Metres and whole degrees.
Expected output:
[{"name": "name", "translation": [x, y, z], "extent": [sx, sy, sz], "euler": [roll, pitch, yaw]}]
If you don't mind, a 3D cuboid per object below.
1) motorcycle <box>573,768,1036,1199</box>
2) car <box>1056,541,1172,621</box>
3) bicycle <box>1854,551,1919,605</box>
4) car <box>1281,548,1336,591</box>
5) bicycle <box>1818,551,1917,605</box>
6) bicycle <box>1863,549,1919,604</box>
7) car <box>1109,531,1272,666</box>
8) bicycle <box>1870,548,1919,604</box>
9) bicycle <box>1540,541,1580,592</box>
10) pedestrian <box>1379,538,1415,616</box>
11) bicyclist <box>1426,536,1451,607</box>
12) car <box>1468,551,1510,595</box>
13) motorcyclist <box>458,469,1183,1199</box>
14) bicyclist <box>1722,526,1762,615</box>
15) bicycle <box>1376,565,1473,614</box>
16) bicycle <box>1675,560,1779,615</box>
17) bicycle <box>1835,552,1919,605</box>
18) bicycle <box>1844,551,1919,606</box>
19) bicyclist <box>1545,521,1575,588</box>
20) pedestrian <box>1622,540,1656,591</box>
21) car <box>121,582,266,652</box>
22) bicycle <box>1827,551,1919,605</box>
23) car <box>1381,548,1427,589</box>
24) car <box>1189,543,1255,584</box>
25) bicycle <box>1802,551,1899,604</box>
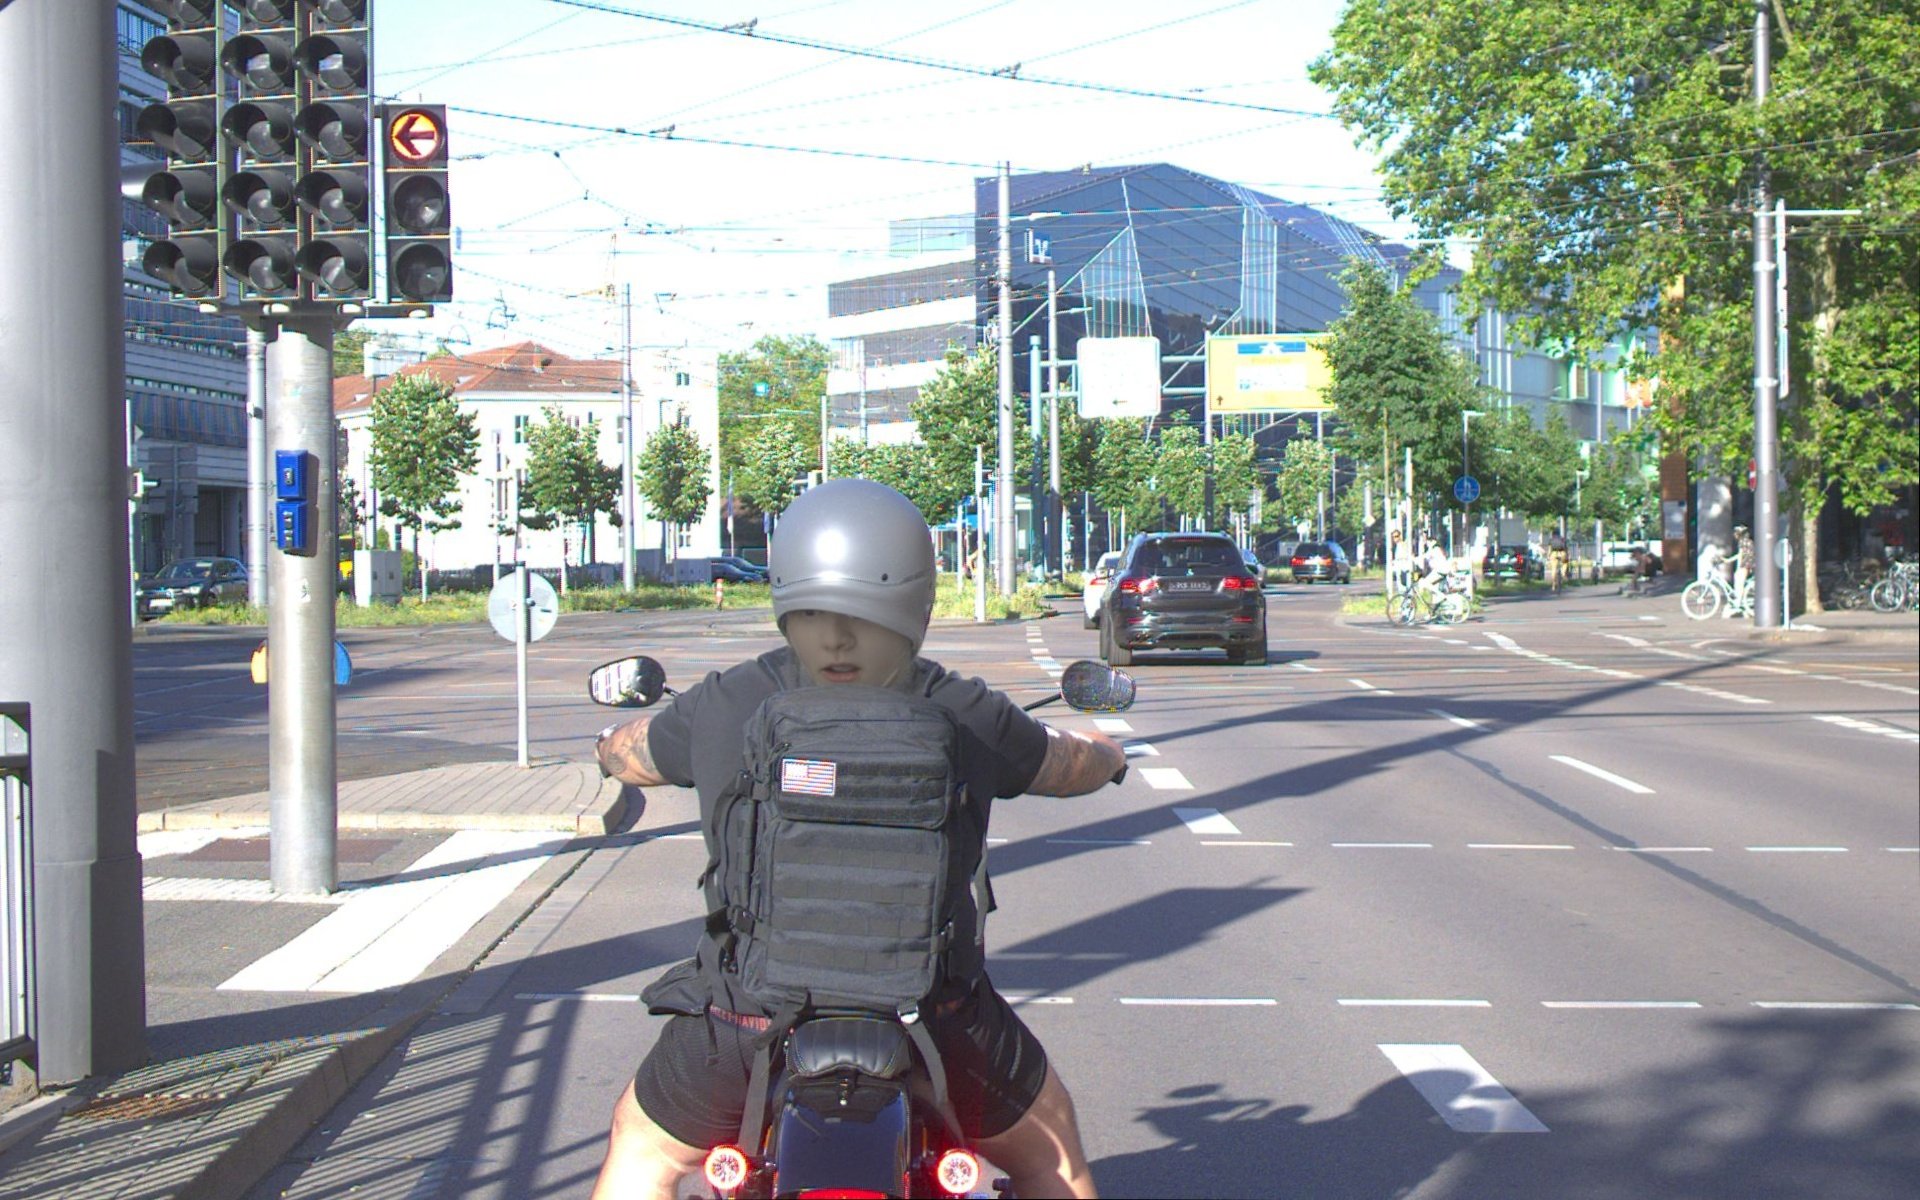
[{"name": "motorcycle", "translation": [-0.222, 0.873, 5.627], "extent": [0.600, 1.032, 2.234], "euler": [1, 1, -1]}, {"name": "car", "translation": [2.815, -0.375, 63.669], "extent": [1.803, 1.425, 4.453], "euler": [0, 1, -2]}, {"name": "bicycle", "translation": [18.502, -0.430, 67.311], "extent": [1.880, 1.043, 0.360], "euler": [1, 0, -1]}, {"name": "car", "translation": [14.132, -1.235, 139.365], "extent": [1.804, 1.672, 4.039], "euler": [1, 0, 11]}, {"name": "bicycle", "translation": [18.339, -0.451, 69.484], "extent": [1.880, 1.043, 0.360], "euler": [1, 1, -1]}, {"name": "bicycle", "translation": [18.464, -0.440, 66.496], "extent": [1.880, 1.043, 0.360], "euler": [1, 0, -1]}, {"name": "car", "translation": [2.915, -0.055, 42.732], "extent": [1.804, 1.590, 4.452], "euler": [0, 1, 7]}, {"name": "bicycle", "translation": [18.383, -0.449, 65.712], "extent": [1.880, 1.043, 0.360], "euler": [1, 0, -1]}, {"name": "bicycle", "translation": [16.266, -0.894, 93.269], "extent": [0.726, 1.362, 2.917], "euler": [1, 0, 3]}, {"name": "pedestrian", "translation": [8.750, -0.456, 68.813], "extent": [0.587, 1.551, 0.489], "euler": [1, 0, -8]}, {"name": "bicyclist", "translation": [9.333, -0.561, 67.096], "extent": [0.380, 1.368, 0.345], "euler": [1, 0, -9]}, {"name": "car", "translation": [22.571, -1.130, 146.627], "extent": [1.531, 1.831, 3.573], "euler": [1, 0, 12]}, {"name": "motorcyclist", "translation": [-0.202, 0.601, 5.356], "extent": [1.030, 1.588, 0.873], "euler": [0, 1, -1]}, {"name": "bicyclist", "translation": [14.825, -0.559, 65.145], "extent": [0.688, 1.667, 0.540], "euler": [0, 0, 19]}, {"name": "bicycle", "translation": [9.064, -0.206, 67.055], "extent": [1.825, 0.922, 0.358], "euler": [1, 0, -8]}, {"name": "bicycle", "translation": [14.556, -0.243, 65.232], "extent": [1.872, 1.040, 0.536], "euler": [0, 0, 19]}, {"name": "bicycle", "translation": [18.435, -0.426, 68.499], "extent": [1.880, 1.043, 0.360], "euler": [1, 0, -1]}, {"name": "bicycle", "translation": [18.454, -0.422, 67.868], "extent": [1.880, 1.043, 0.360], "euler": [1, 1, -1]}, {"name": "bicyclist", "translation": [16.263, -1.236, 93.186], "extent": [0.697, 1.802, 0.728], "euler": [1, 0, 4]}, {"name": "pedestrian", "translation": [17.889, -0.904, 90.603], "extent": [0.819, 1.309, 0.637], "euler": [1, 0, 9]}, {"name": "car", "translation": [-17.486, 0.378, 78.584], "extent": [1.750, 1.519, 3.998], "euler": [1, 0, 11]}, {"name": "bicycle", "translation": [18.389, -0.441, 68.984], "extent": [1.880, 1.043, 0.360], "euler": [1, 1, -1]}, {"name": "car", "translation": [19.950, -1.405, 154.412], "extent": [1.730, 1.831, 3.573], "euler": [1, 0, 12]}, {"name": "car", "translation": [9.464, -1.329, 124.119], "extent": [1.804, 1.425, 4.451], "euler": [0, 1, 12]}, {"name": "bicycle", "translation": [18.285, -0.467, 70.634], "extent": [1.880, 1.043, 0.360], "euler": [1, 1, -1]}]
